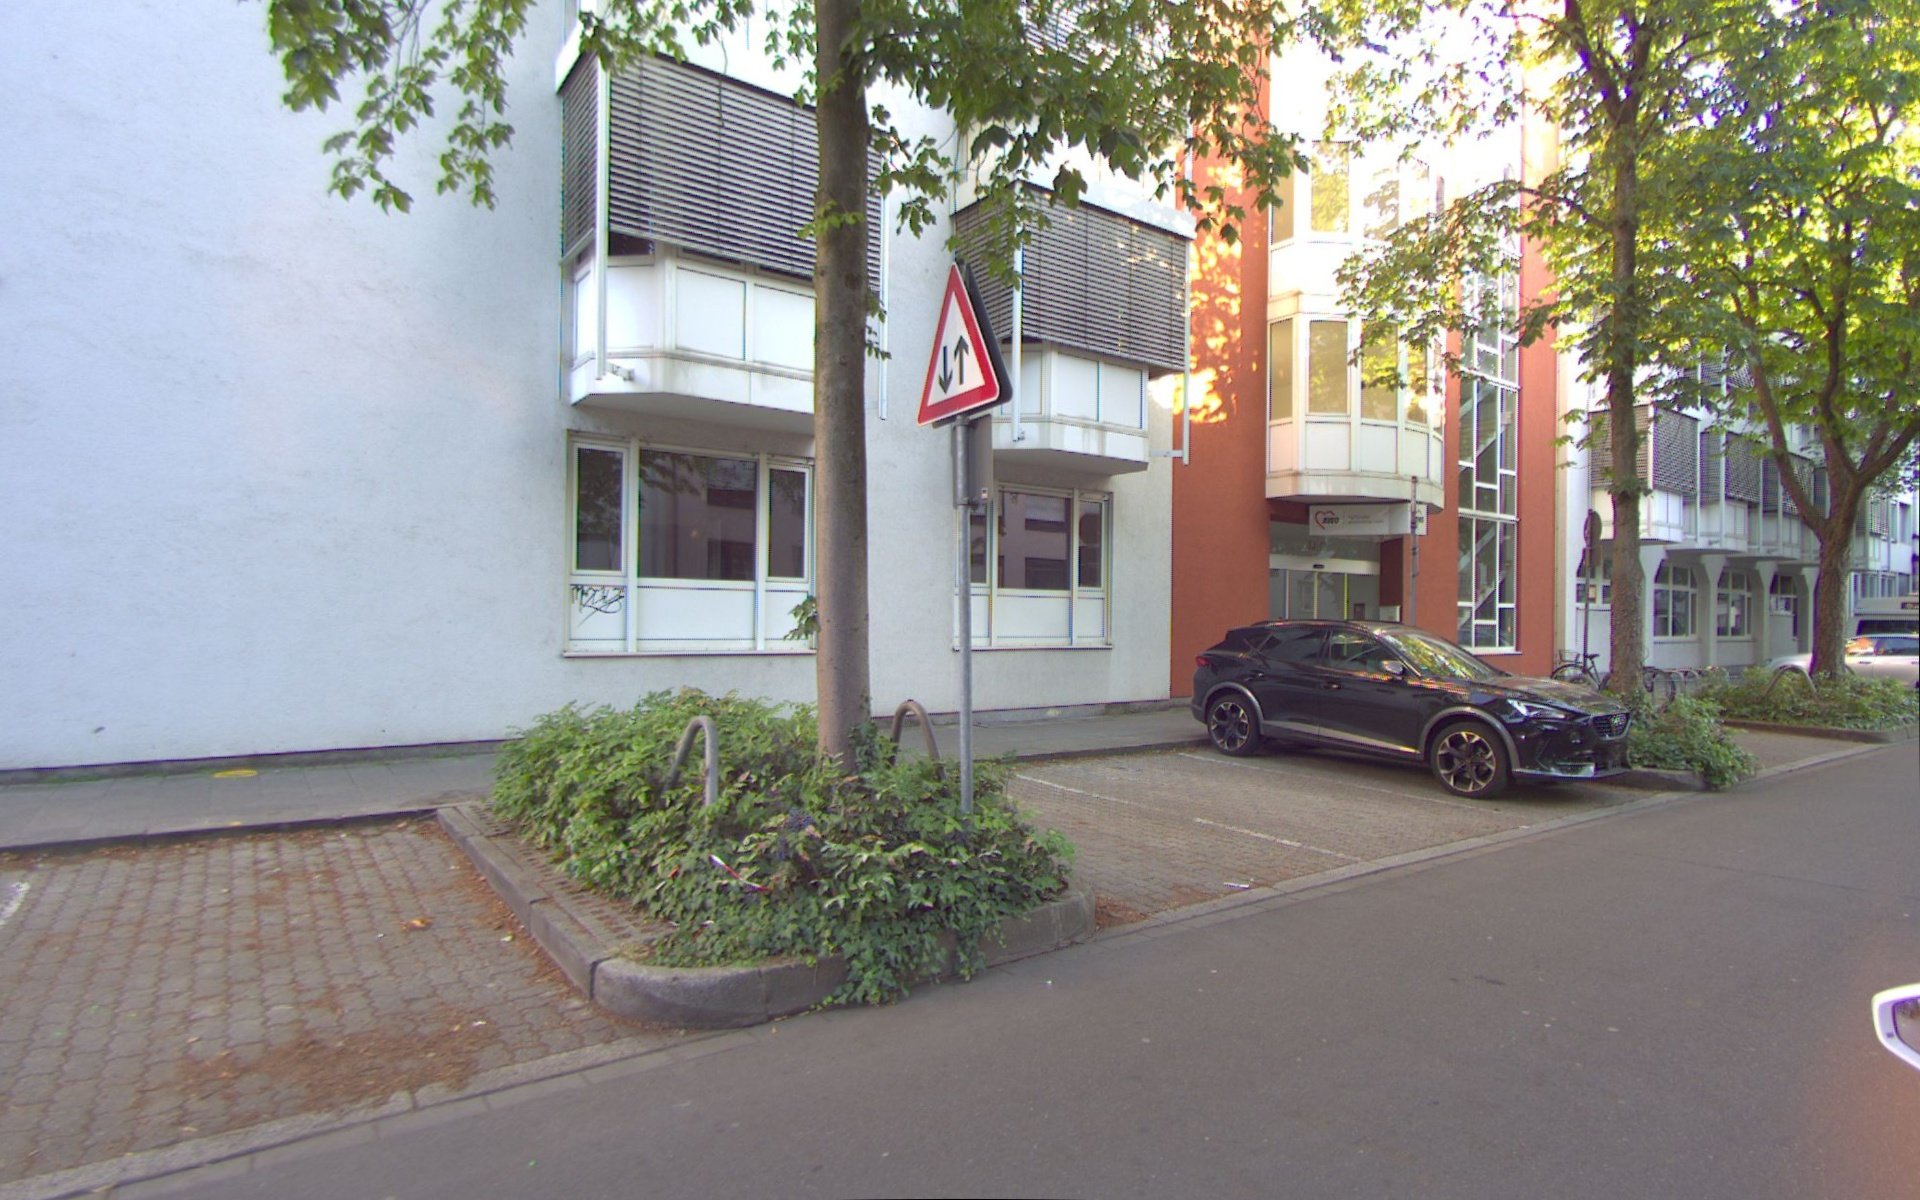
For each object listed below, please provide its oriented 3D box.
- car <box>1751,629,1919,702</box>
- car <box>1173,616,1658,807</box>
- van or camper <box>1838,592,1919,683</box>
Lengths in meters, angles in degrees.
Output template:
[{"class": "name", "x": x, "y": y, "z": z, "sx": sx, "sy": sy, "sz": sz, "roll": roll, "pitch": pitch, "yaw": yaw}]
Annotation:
[{"class": "car", "x": 20.902, "y": 1.474, "z": 23.089, "sx": 1.767, "sy": 1.537, "sz": 3.942, "roll": 1, "pitch": -1, "yaw": -35}, {"class": "car", "x": 4.451, "y": 0.956, "z": 10.472, "sx": 1.768, "sy": 1.537, "sz": 4.325, "roll": 1, "pitch": -1, "yaw": -35}, {"class": "van or camper", "x": 27.645, "y": 1.060, "z": 27.886, "sx": 1.981, "sy": 2.511, "sz": 4.632, "roll": 1, "pitch": -1, "yaw": -36}]
